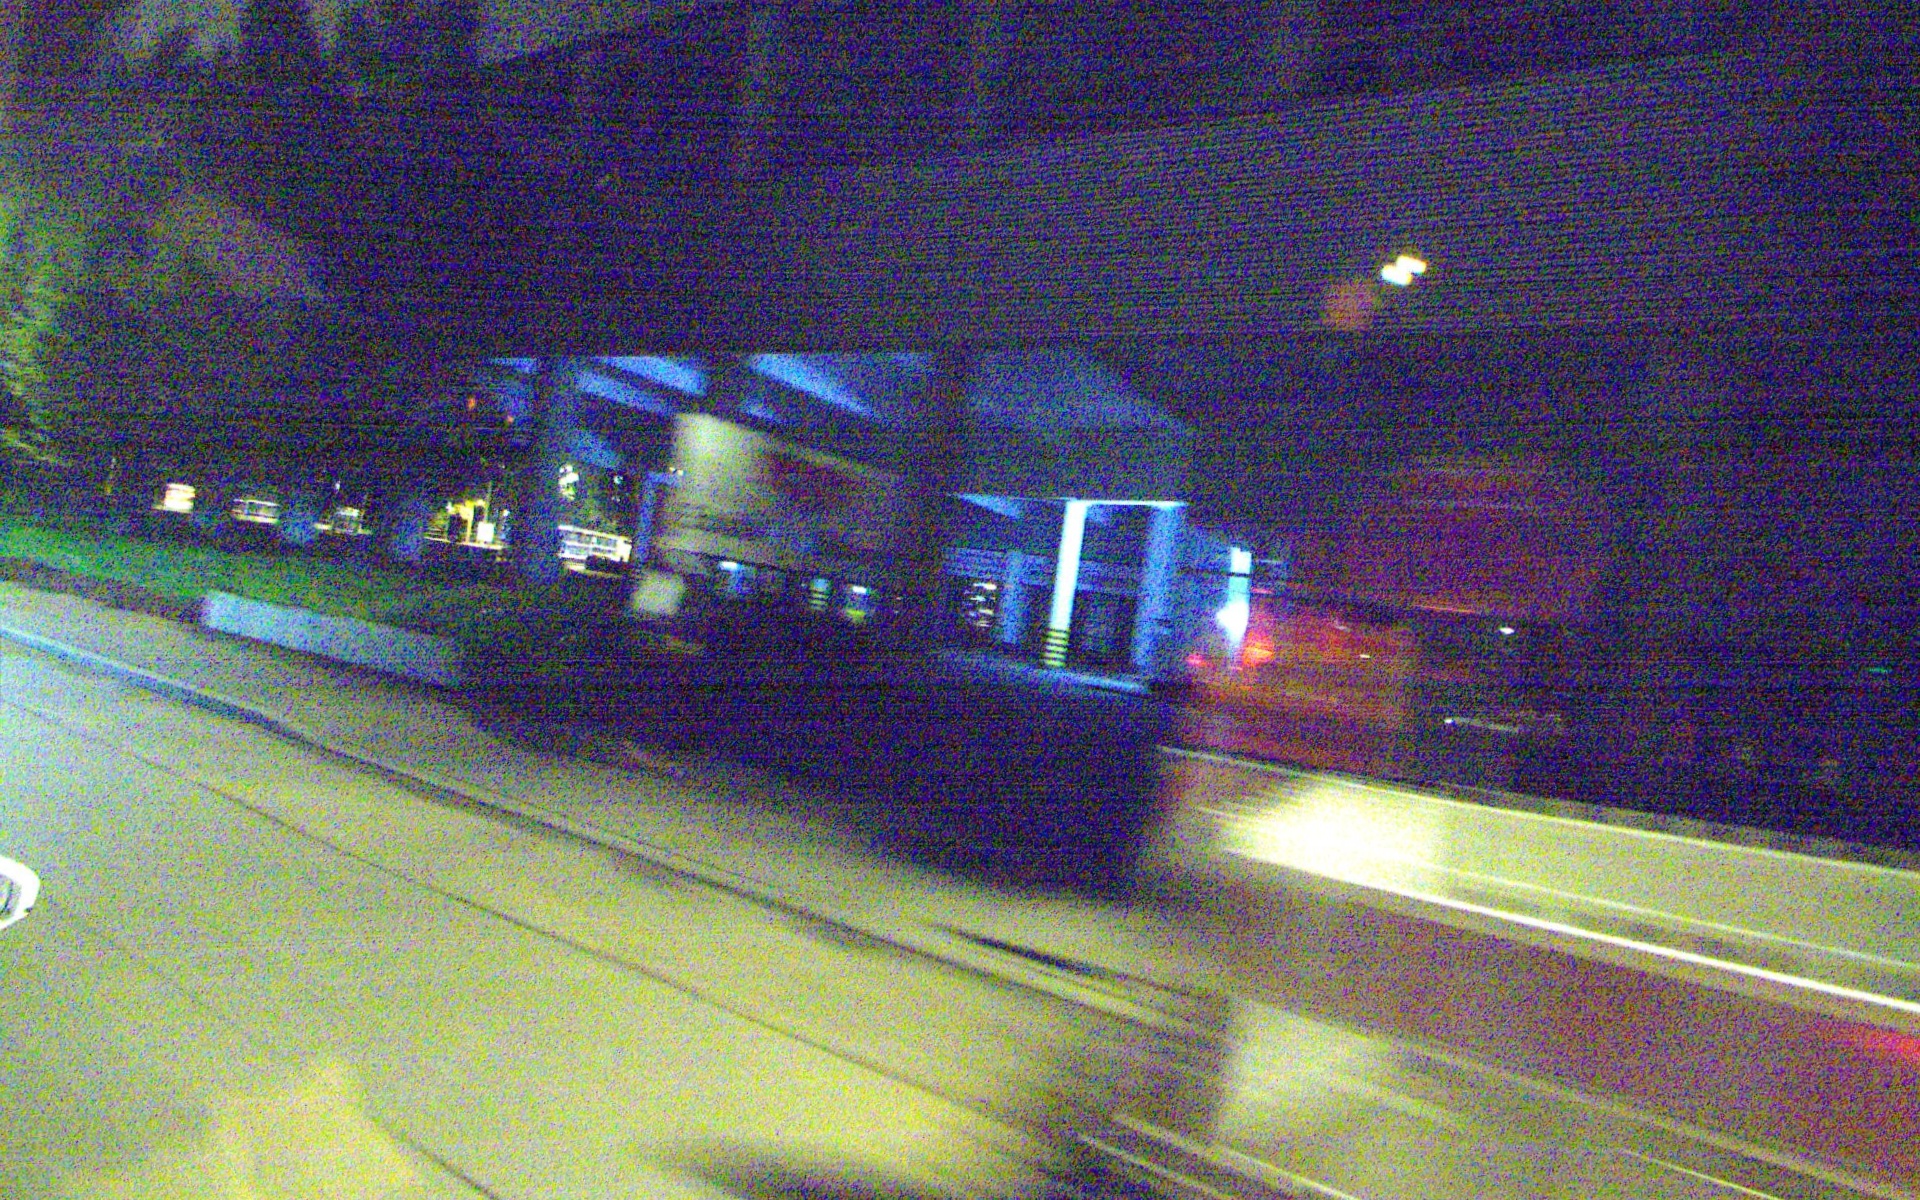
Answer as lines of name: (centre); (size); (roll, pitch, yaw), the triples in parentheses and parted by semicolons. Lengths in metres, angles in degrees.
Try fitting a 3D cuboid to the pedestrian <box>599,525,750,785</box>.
pedestrian: (-2.231, 0.408, 7.857); (0.806, 1.876, 0.570); (7, 2, 32)
